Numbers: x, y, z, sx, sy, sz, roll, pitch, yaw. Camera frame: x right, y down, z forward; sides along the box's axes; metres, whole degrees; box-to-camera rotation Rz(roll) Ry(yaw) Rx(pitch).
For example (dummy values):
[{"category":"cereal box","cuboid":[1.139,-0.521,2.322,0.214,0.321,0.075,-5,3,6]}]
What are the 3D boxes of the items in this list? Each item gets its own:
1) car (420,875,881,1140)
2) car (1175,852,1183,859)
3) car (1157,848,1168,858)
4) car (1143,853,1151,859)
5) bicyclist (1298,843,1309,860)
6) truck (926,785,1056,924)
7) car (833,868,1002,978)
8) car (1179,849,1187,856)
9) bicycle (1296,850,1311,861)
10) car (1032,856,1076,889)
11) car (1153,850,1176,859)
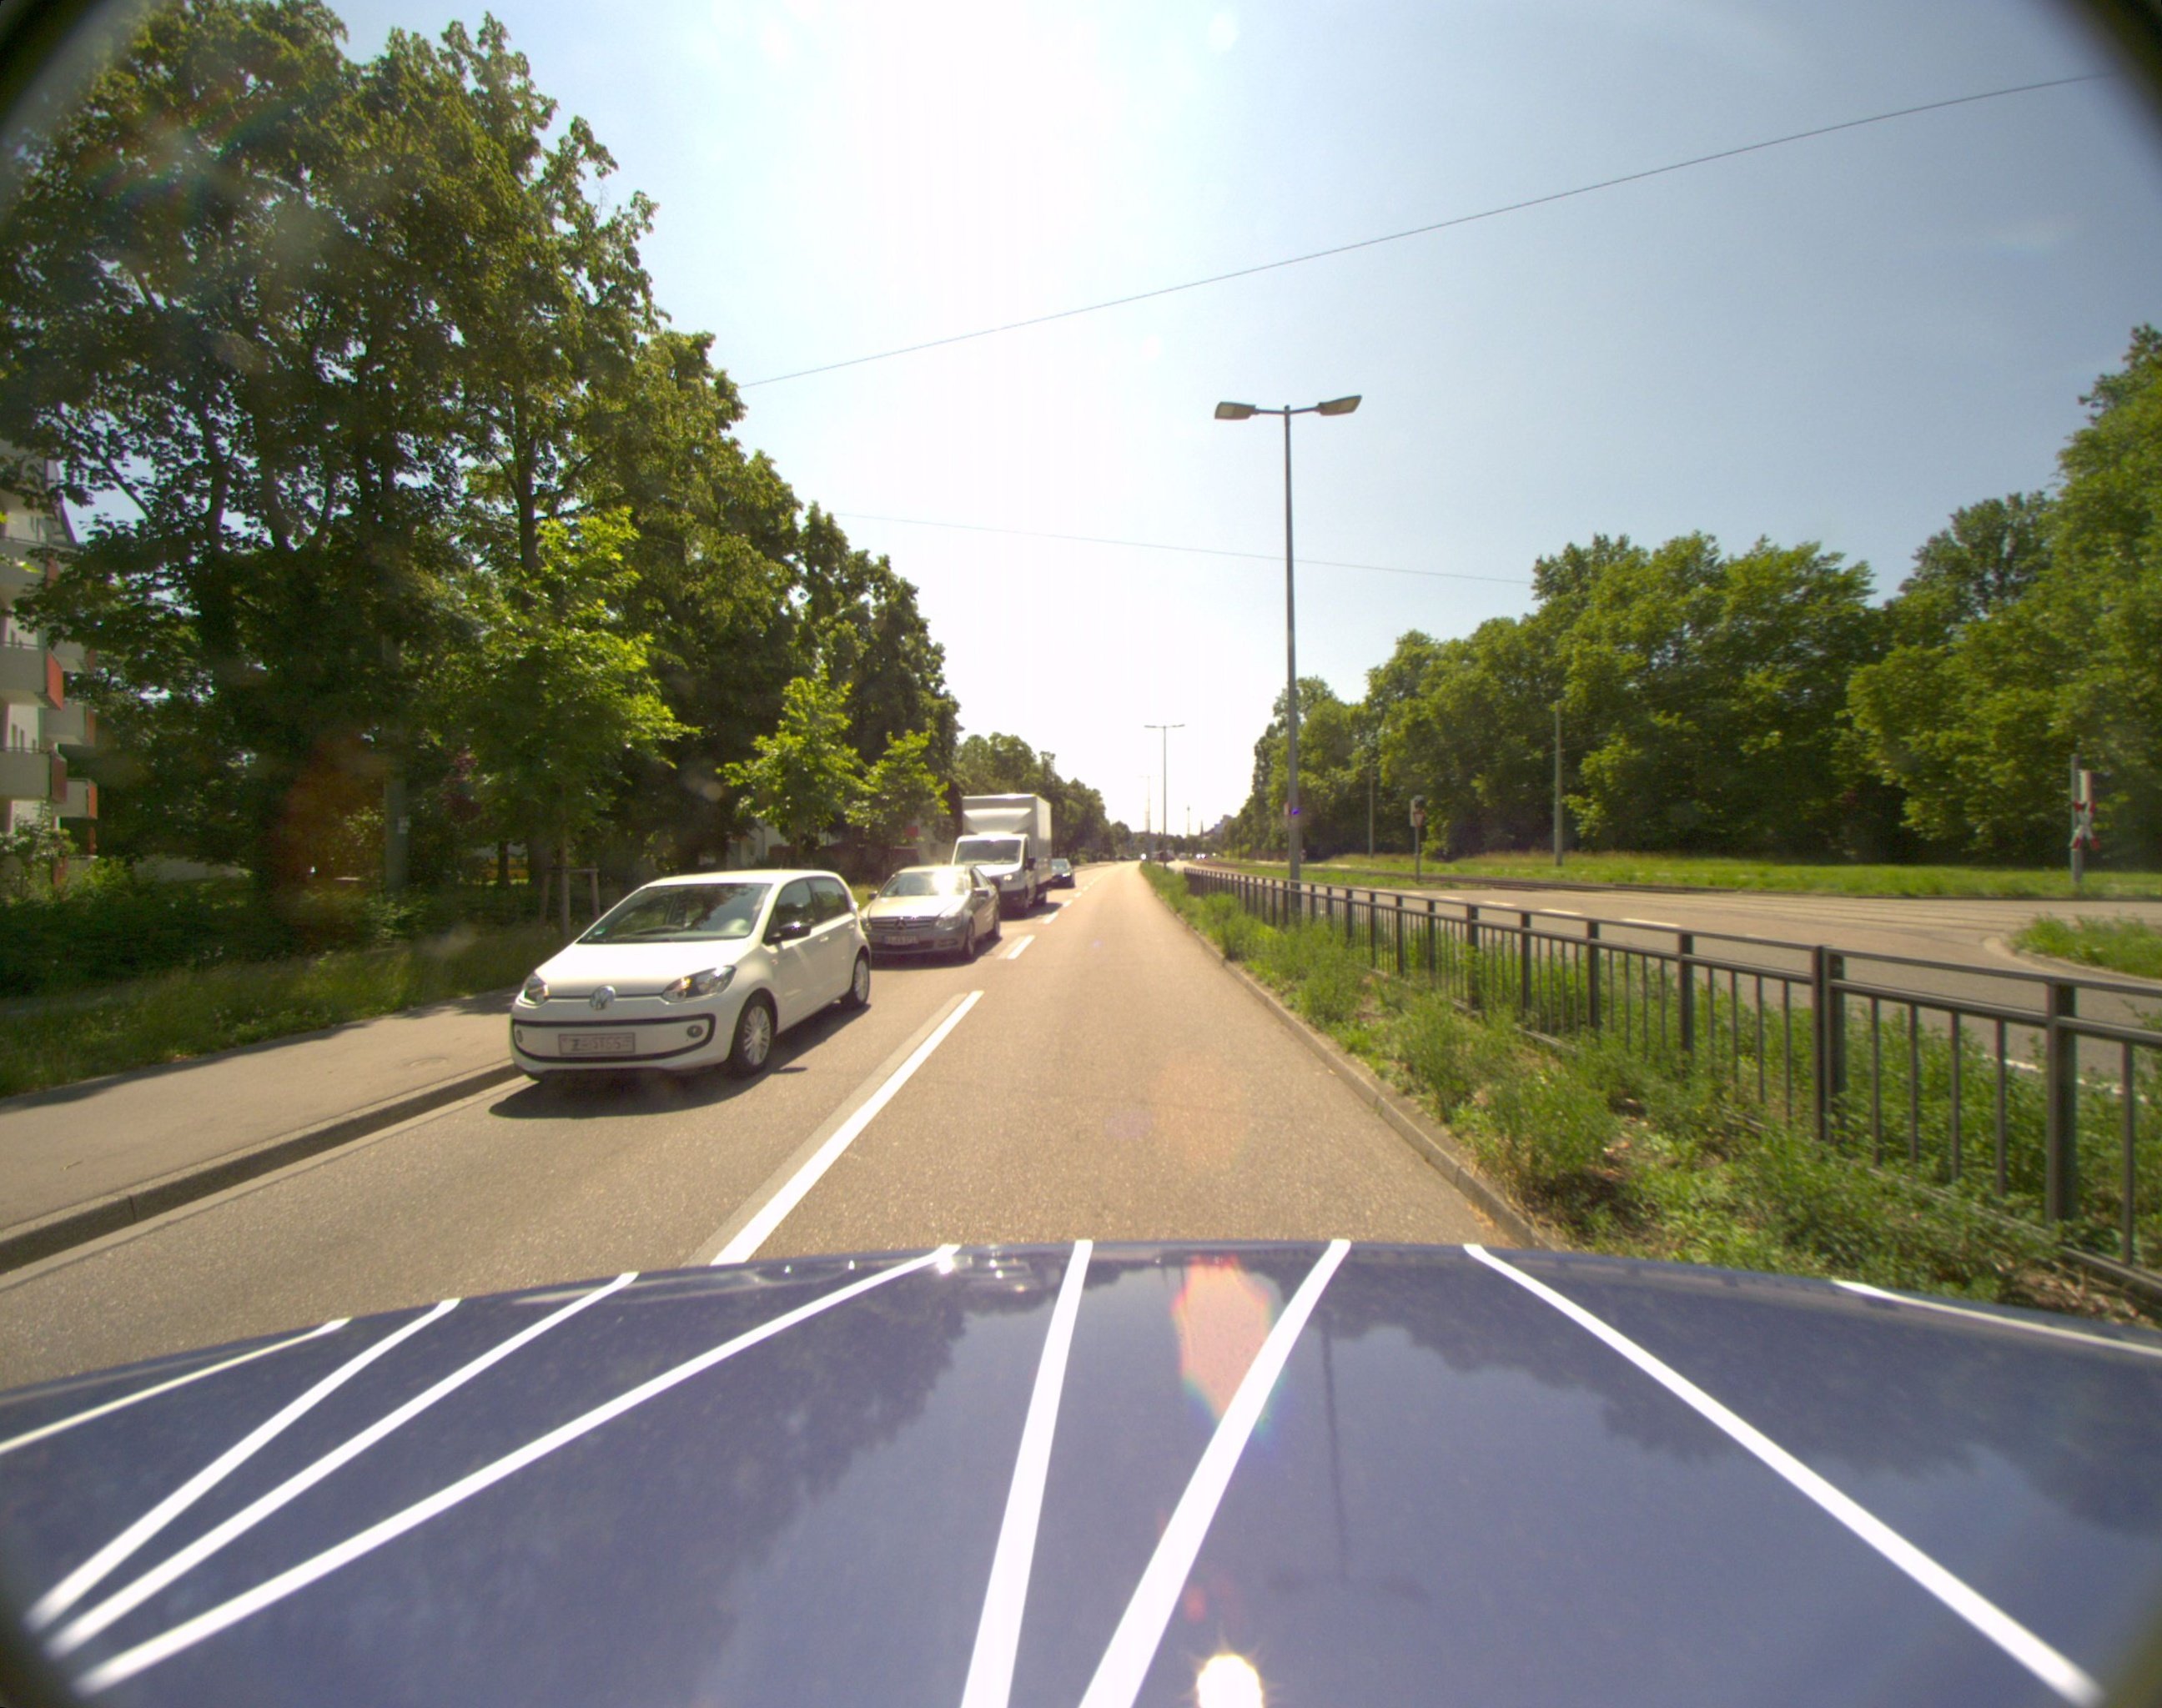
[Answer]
[{"category":"car","cuboid":[-3.119,0.993,6.511,1.730,1.470,3.771,-1,0,1]},{"category":"car","cuboid":[26.747,0.354,207.239,1.998,1.847,4.001,-1,0,5]},{"category":"car","cuboid":[16.512,-0.212,153.981,1.997,1.846,4.002,-1,0,7]},{"category":"car","cuboid":[17.684,0.539,204.144,1.997,1.499,4.002,-1,0,7]},{"category":"bicyclist","cuboid":[23.632,-0.298,80.612,0.862,1.796,1.118,-1,1,1]},{"category":"truck","cuboid":[-2.290,-0.001,22.271,2.433,3.326,7.923,-1,0,3]},{"category":"car","cuboid":[-2.467,0.991,12.533,1.840,1.400,4.087,-1,0,1]},{"category":"car","cuboid":[26.920,-0.296,200.785,1.998,1.846,4.001,-1,0,5]},{"category":"bicycle","cuboid":[23.616,0.178,80.673,0.862,1.155,2.787,-1,0,1]},{"category":"car","cuboid":[-1.312,0.894,38.104,1.998,1.499,4.000,-1,0,1]},{"category":"car","cuboid":[25.134,0.107,229.071,6.654,2.381,3.191,-1,0,-41]}]
